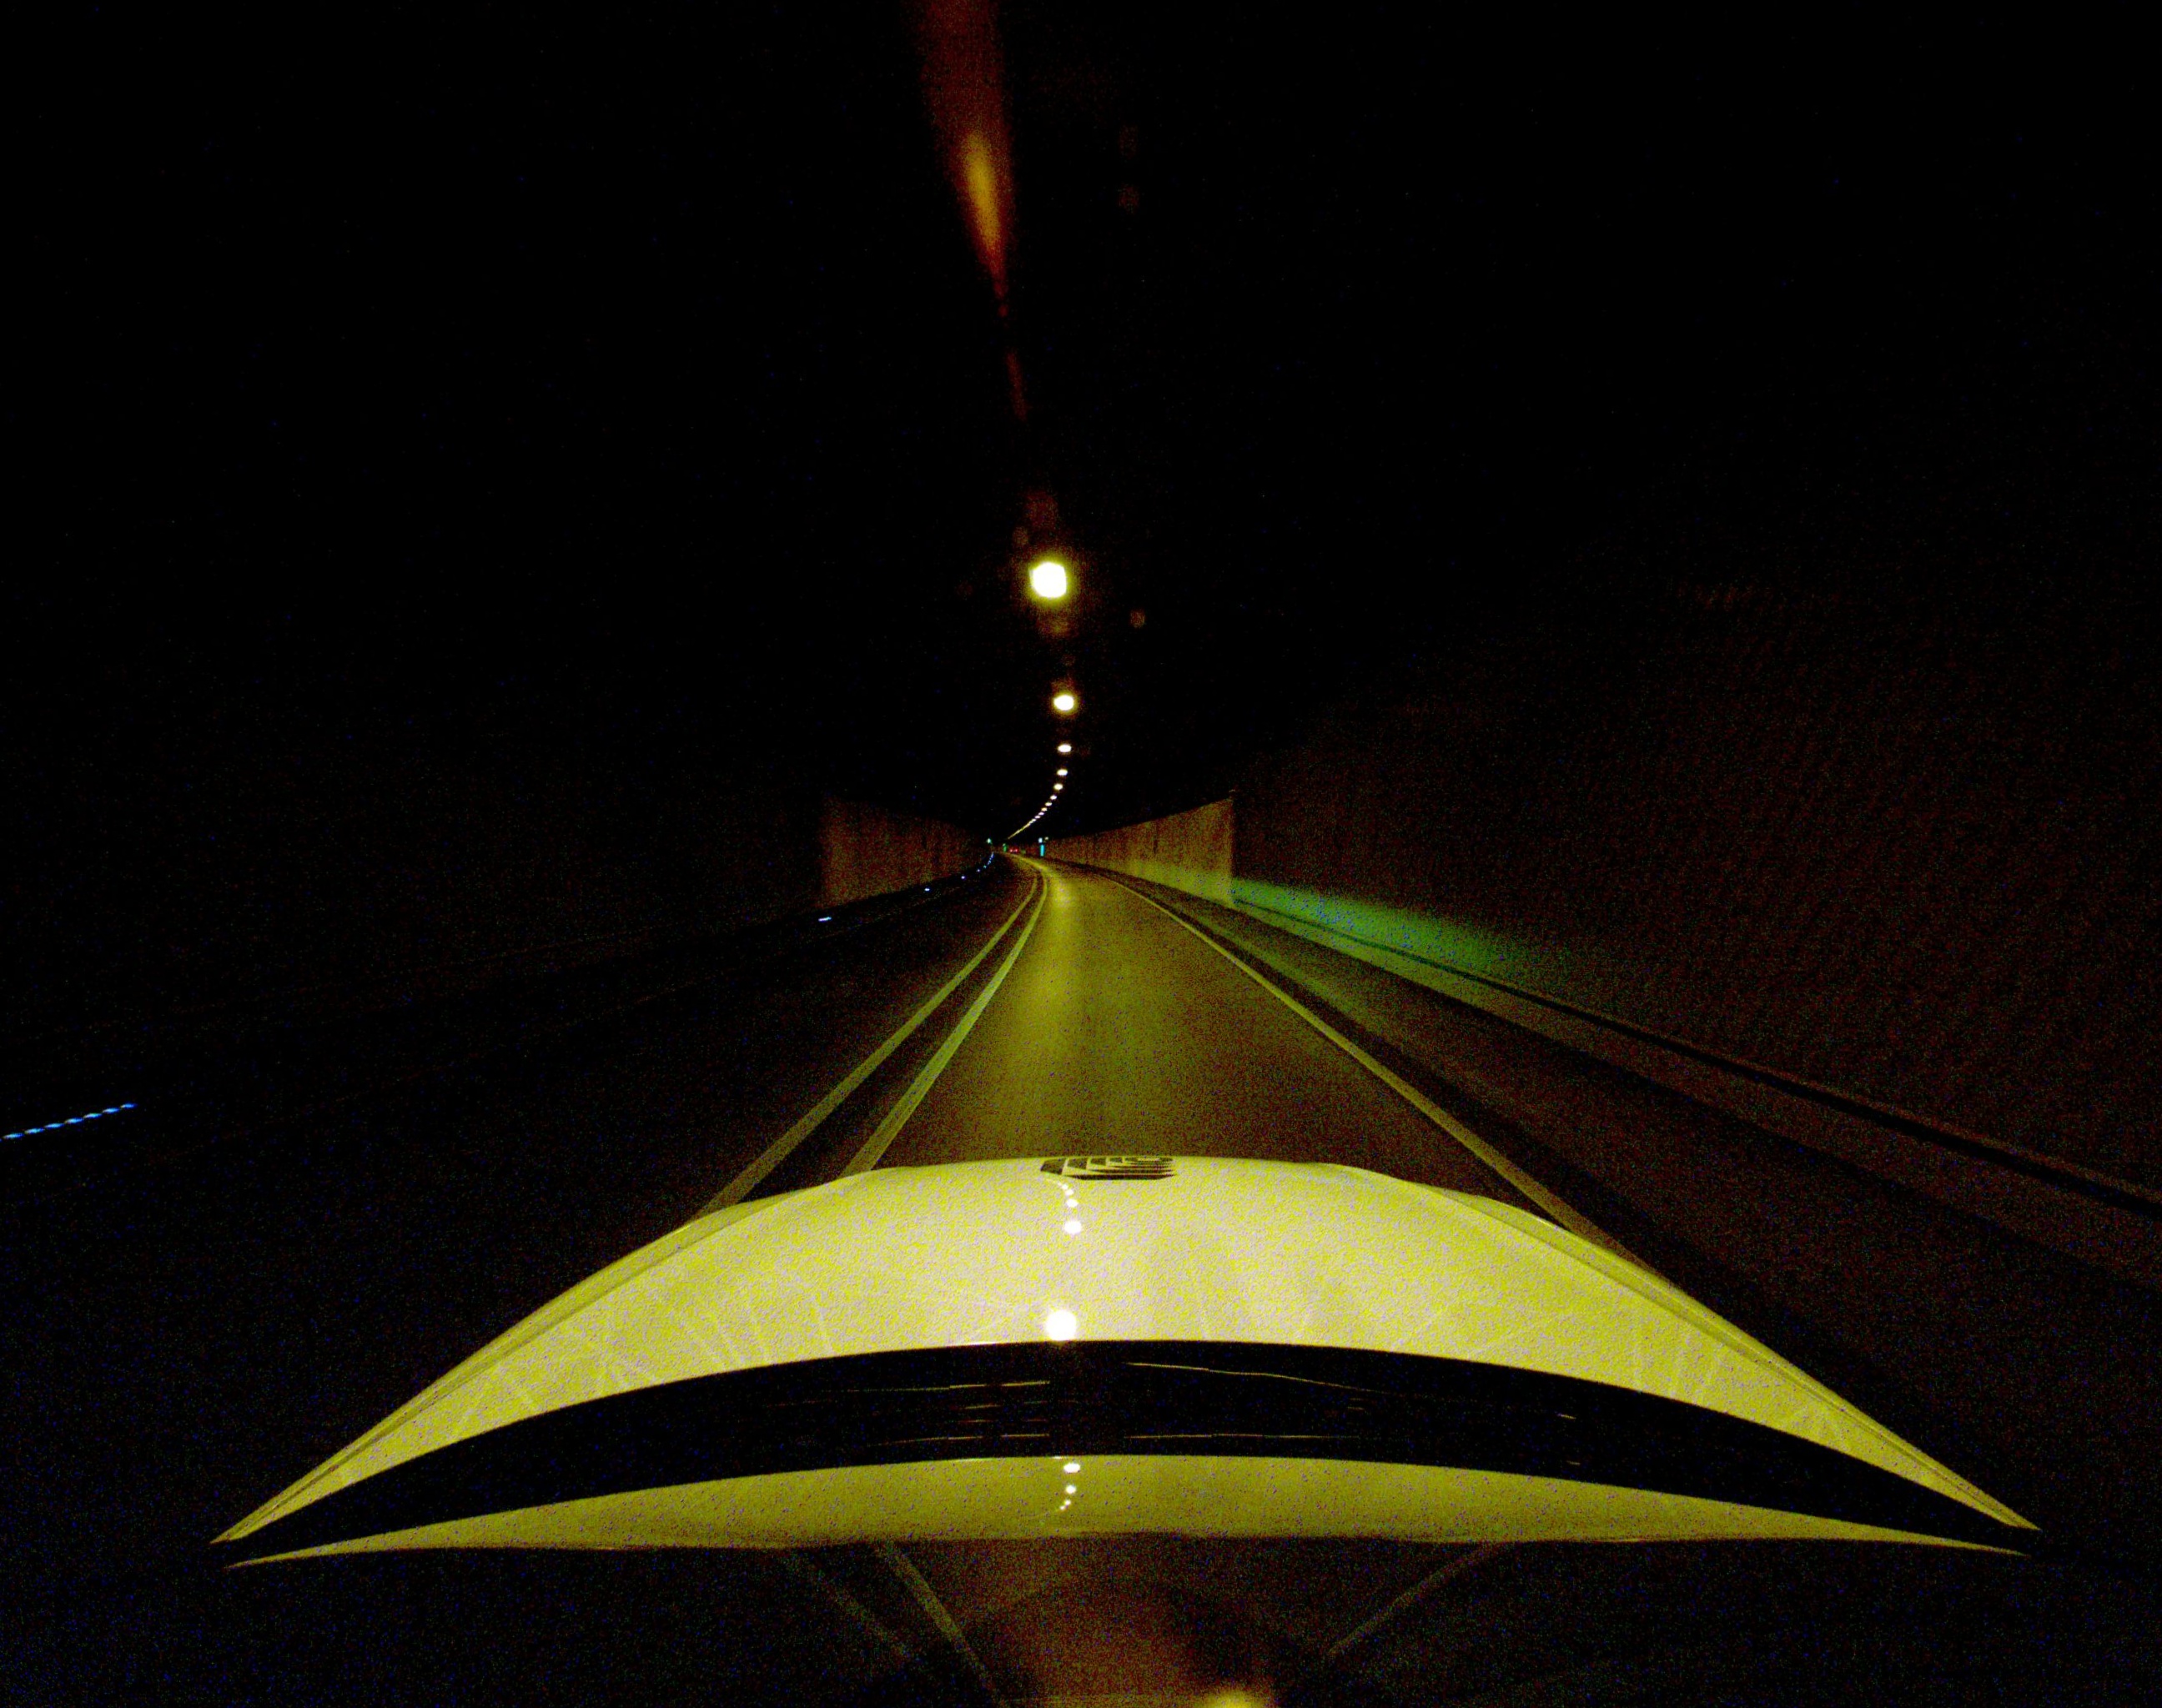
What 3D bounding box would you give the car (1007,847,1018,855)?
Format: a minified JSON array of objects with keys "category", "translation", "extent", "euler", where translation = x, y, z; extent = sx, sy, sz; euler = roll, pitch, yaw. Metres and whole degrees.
[{"category":"car","translation":[-17.801,-0.701,212.014],"extent":[1.969,1.939,4.591],"euler":[2,-1,-13]}]
